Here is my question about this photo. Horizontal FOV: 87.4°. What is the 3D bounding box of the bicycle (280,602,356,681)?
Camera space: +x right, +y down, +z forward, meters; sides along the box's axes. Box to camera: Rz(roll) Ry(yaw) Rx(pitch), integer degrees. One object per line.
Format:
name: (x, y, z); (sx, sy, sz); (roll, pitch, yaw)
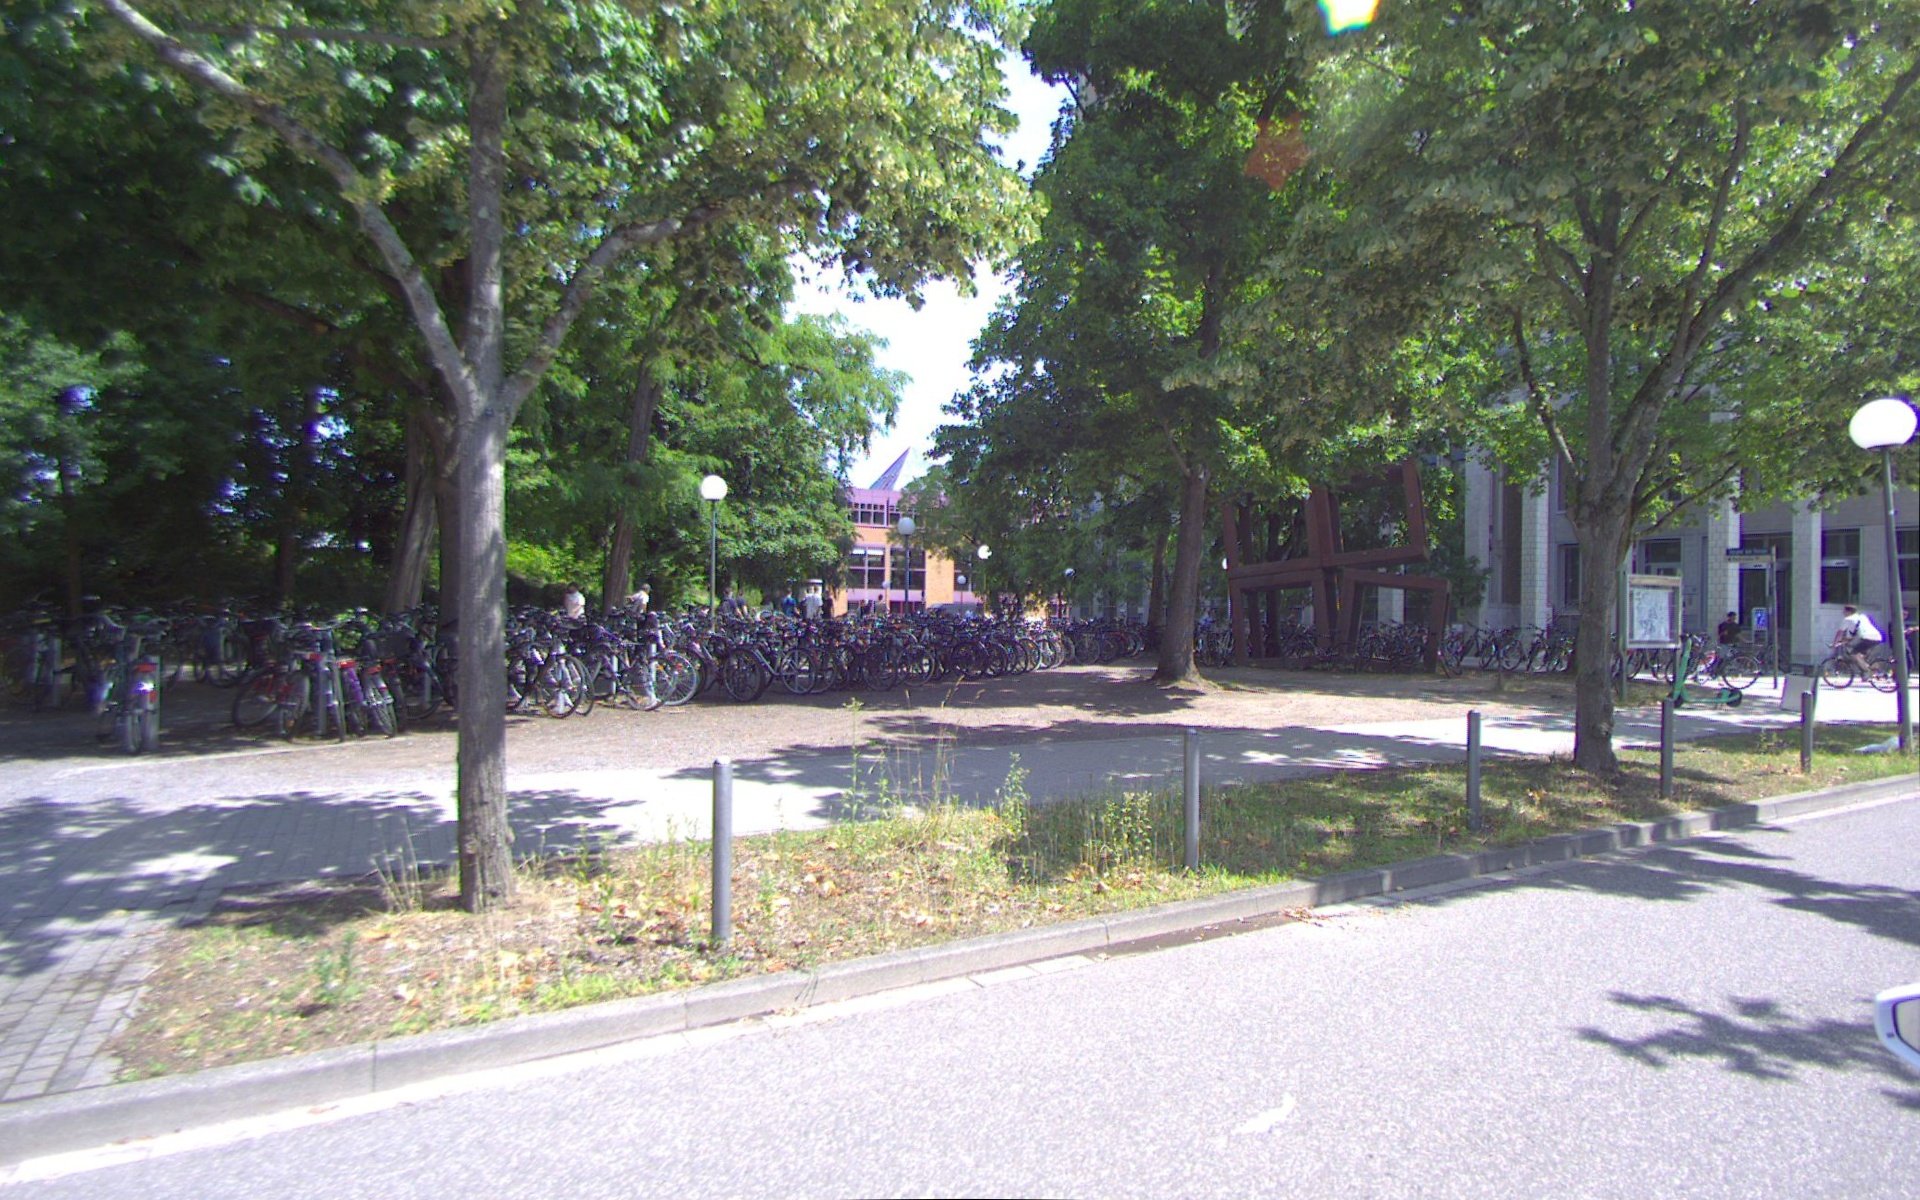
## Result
bicycle: (-9.832, 0.610, 15.349); (1.940, 1.104, 0.544); (1, 1, 44)

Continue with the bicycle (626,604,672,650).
bicycle: (-8.785, 0.757, 28.341); (1.772, 1.223, 0.421); (1, 1, 44)

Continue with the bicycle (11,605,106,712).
bicycle: (-10.306, 0.627, 11.459); (1.833, 1.104, 0.544); (1, 0, 40)

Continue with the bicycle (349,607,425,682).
bicycle: (-9.296, 0.685, 16.259); (1.940, 1.104, 0.544); (1, 1, 44)

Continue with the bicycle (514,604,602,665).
bicycle: (-7.827, 0.655, 19.529); (1.933, 1.104, 0.546); (1, 0, 32)

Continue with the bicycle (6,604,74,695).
bicycle: (-11.760, 0.597, 12.875); (0.533, 1.041, 1.944); (1, 0, -40)

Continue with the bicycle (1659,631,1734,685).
bicycle: (15.843, 1.229, 21.595); (1.950, 1.101, 0.549); (1, 1, -30)

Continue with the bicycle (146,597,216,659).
bicycle: (-14.992, 0.517, 19.316); (1.927, 1.106, 0.595); (2, -1, 38)

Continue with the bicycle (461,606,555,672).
bicycle: (-8.205, 0.689, 18.209); (1.933, 1.104, 0.546); (1, 0, 32)

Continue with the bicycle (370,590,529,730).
bicycle: (-5.314, 0.557, 10.389); (2.031, 1.251, 0.804); (3, 1, 43)

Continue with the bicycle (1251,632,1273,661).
bicycle: (8.661, 1.313, 28.767); (0.317, 0.773, 1.558); (1, 0, 27)

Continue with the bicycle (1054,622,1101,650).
bicycle: (4.839, 1.464, 41.234); (1.950, 1.101, 0.549); (1, 1, -30)

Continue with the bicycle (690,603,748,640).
bicycle: (-7.252, 0.628, 30.199); (2.029, 1.049, 0.504); (1, 1, 37)

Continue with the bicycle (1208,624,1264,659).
bicycle: (9.145, 1.362, 33.257); (1.950, 1.101, 0.549); (1, 1, -30)

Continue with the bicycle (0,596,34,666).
bicycle: (-16.076, 0.474, 16.407); (1.920, 1.106, 0.597); (2, 0, 22)

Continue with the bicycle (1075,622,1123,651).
bicycle: (5.533, 1.446, 39.887); (1.950, 1.101, 0.549); (1, 1, -30)

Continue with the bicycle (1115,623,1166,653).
bicycle: (6.792, 1.423, 37.765); (1.950, 1.101, 0.549); (1, 1, -30)

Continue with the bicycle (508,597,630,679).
bicycle: (-6.372, 0.591, 16.357); (2.022, 1.251, 0.639); (1, 1, 26)

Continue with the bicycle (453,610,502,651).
bicycle: (-11.715, 0.724, 24.368); (1.741, 0.906, 0.417); (1, 1, 41)

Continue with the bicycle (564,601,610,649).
bicycle: (-9.971, 0.651, 26.823); (1.772, 1.223, 0.421); (1, 1, 44)

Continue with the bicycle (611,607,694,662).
bicycle: (-6.602, 0.716, 21.523); (1.933, 1.104, 0.546); (1, 0, 32)

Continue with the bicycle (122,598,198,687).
bicycle: (-10.899, 0.542, 13.656); (1.940, 1.104, 0.534); (1, 1, 43)

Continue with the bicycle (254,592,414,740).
bicycle: (-6.034, 0.566, 9.630); (2.031, 1.251, 0.804); (2, 1, 43)

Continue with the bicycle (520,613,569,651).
bicycle: (-10.705, 0.800, 25.876); (1.741, 0.906, 0.417); (1, 1, 41)

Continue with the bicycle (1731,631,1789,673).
bicycle: (21.617, 1.392, 27.134); (1.840, 1.028, 0.463); (-1, 2, -27)

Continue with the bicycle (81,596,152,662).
bicycle: (-15.320, 0.502, 18.226); (1.927, 1.106, 0.595); (2, -1, 38)

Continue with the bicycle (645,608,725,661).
bicycle: (-6.170, 0.743, 22.478); (1.933, 1.104, 0.546); (1, 0, 32)

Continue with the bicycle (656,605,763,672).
bicycle: (-4.768, 0.706, 19.088); (2.022, 1.173, 0.639); (1, 1, 26)

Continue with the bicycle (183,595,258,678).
bicycle: (-10.629, 0.491, 14.411); (1.940, 1.104, 0.544); (1, 1, 44)

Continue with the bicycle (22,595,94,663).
bicycle: (-15.852, 0.485, 17.633); (1.927, 1.106, 0.595); (2, -1, 38)

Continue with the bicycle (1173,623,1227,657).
bicycle: (8.236, 1.368, 34.477); (1.950, 1.101, 0.549); (1, 1, -30)

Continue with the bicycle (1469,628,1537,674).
bicycle: (13.773, 1.278, 25.444); (1.950, 1.101, 0.549); (1, 1, -30)

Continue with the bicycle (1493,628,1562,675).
bicycle: (14.090, 1.273, 24.928); (1.950, 1.101, 0.549); (1, 1, -30)

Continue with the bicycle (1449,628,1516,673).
bicycle: (13.565, 1.292, 26.076); (1.950, 1.101, 0.549); (1, 1, -30)

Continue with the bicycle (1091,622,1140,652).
bicycle: (6.112, 1.455, 39.489); (1.950, 1.101, 0.549); (1, 1, -30)

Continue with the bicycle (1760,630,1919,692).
bicycle: (19.497, 1.315, 22.272); (0.871, 1.215, 2.738); (1, 0, -18)

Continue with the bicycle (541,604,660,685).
bicycle: (-6.076, 0.725, 16.966); (2.022, 1.251, 0.639); (2, 1, 26)

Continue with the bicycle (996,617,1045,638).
bicycle: (2.608, 1.184, 43.196); (2.258, 0.887, 0.417); (1, 0, -30)

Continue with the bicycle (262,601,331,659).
bicycle: (-13.723, 0.607, 20.756); (1.927, 1.106, 0.595); (2, -1, 38)

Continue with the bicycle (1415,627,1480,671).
bicycle: (12.967, 1.289, 26.698); (1.950, 1.101, 0.549); (1, 1, -30)

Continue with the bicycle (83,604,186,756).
bicycle: (-7.069, 0.629, 8.575); (1.754, 1.147, 0.456); (1, 0, 43)

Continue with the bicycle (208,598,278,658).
bicycle: (-14.248, 0.537, 19.941); (1.927, 1.106, 0.595); (2, -1, 38)

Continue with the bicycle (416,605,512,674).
bicycle: (-8.636, 0.667, 17.454); (1.933, 1.104, 0.546); (1, 0, 32)

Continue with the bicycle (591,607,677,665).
bicycle: (-6.655, 0.718, 20.475); (1.933, 1.104, 0.546); (1, 0, 32)
